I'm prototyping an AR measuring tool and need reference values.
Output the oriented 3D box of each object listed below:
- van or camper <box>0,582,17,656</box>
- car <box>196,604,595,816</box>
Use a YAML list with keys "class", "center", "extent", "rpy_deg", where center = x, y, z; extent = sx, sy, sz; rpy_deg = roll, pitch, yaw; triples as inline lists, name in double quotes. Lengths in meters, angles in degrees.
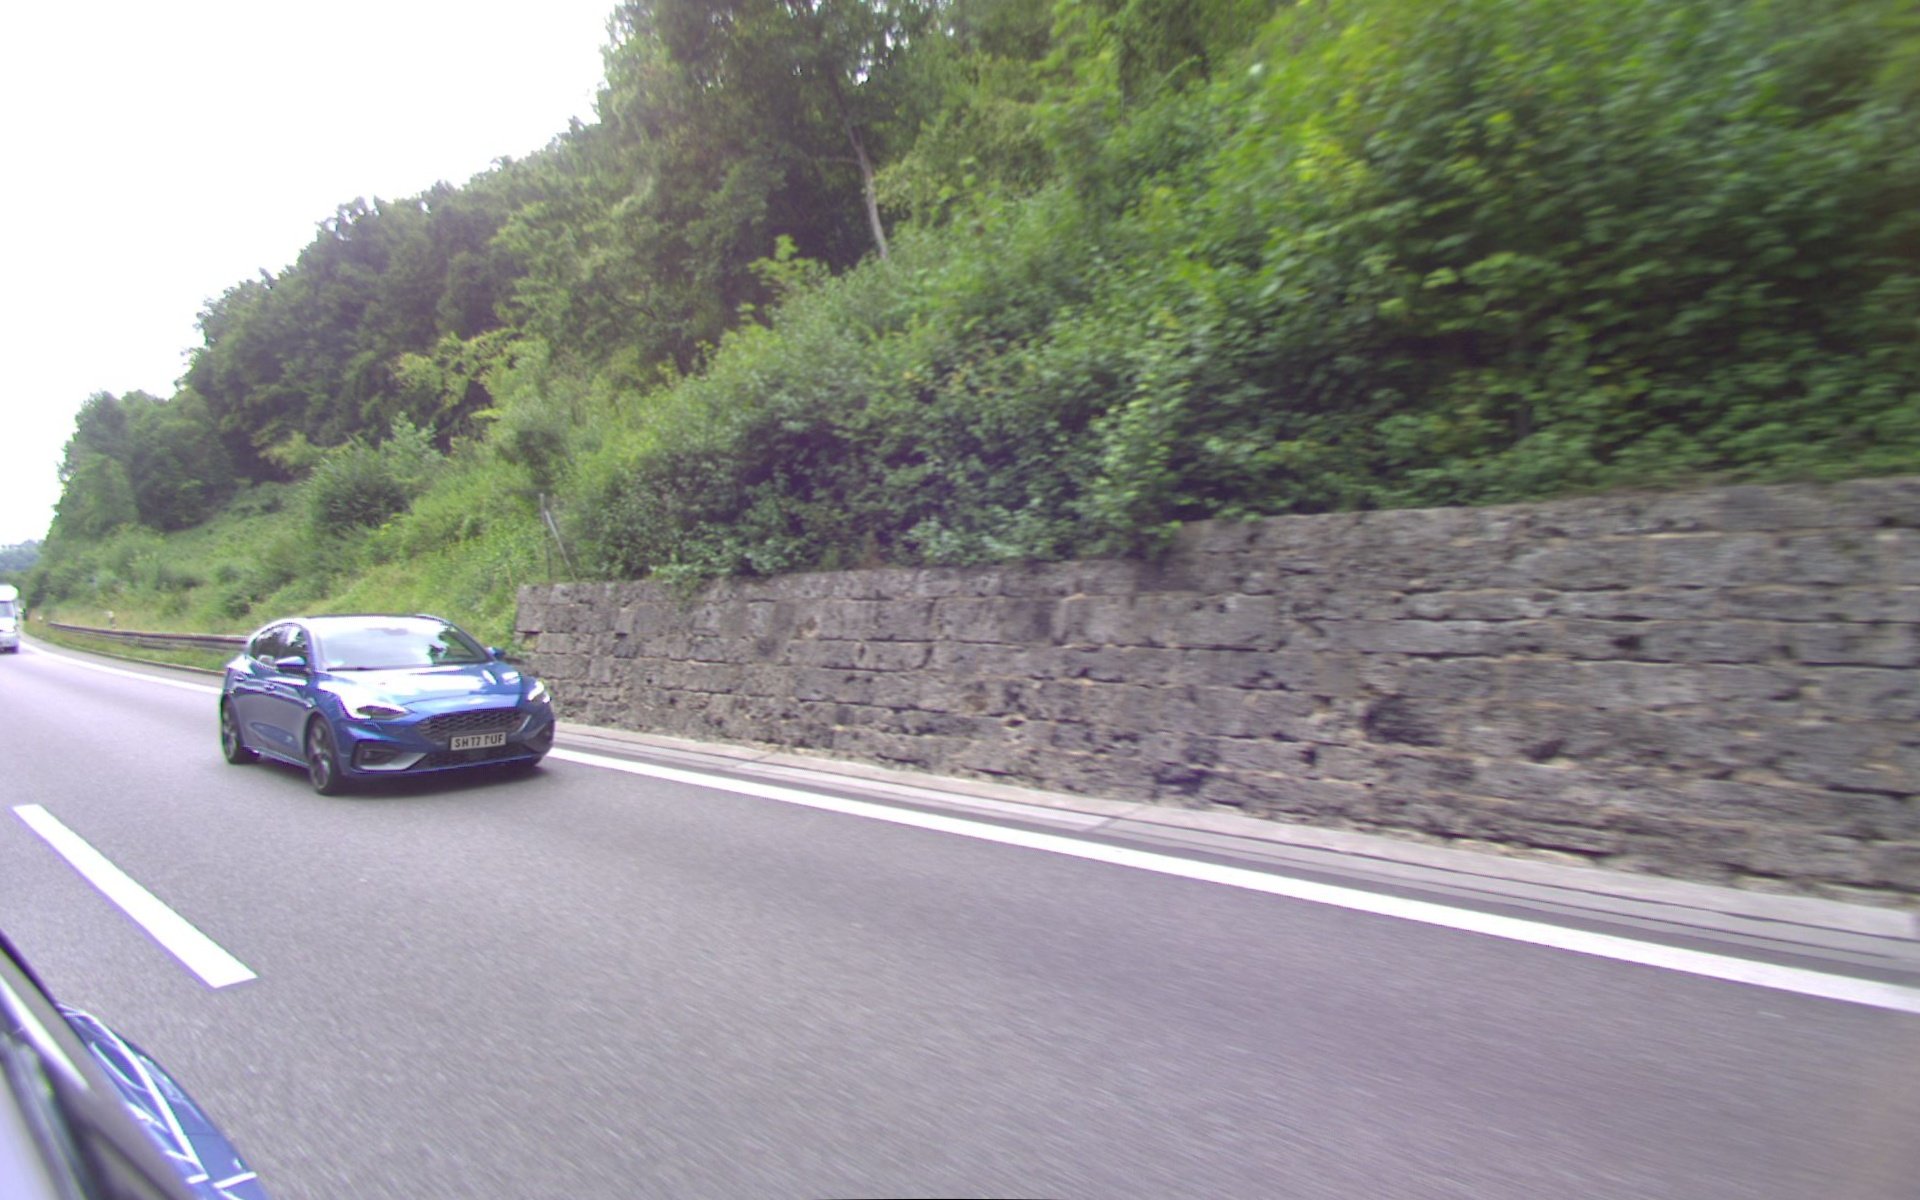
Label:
- class: "van or camper"
  center: [-38.900, 0.771, 39.816]
  extent: [7.025, 2.756, 2.240]
  rpy_deg: [-1, -1, 44]
- class: "car"
  center: [-5.371, 0.802, 9.338]
  extent: [4.553, 1.480, 1.817]
  rpy_deg: [-1, 0, 41]
